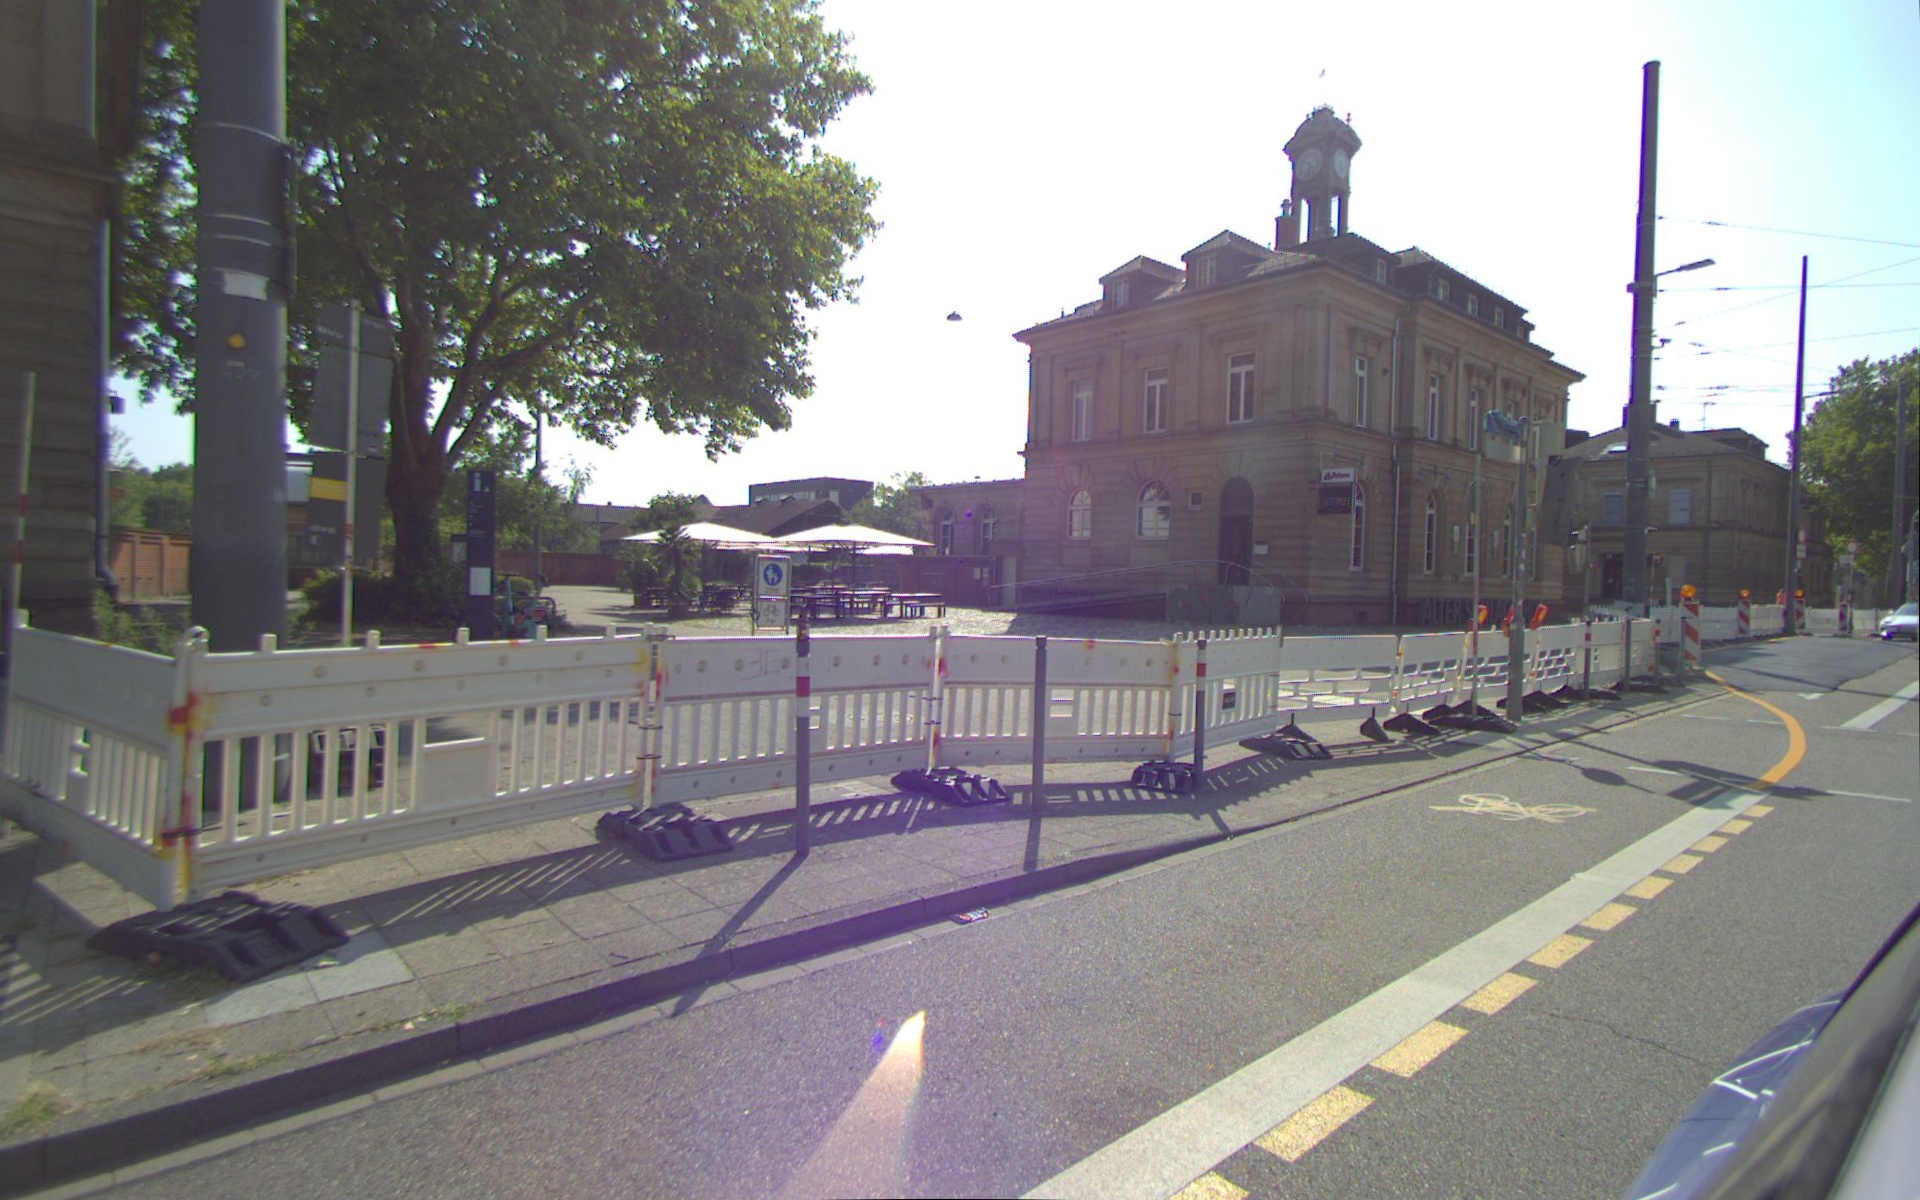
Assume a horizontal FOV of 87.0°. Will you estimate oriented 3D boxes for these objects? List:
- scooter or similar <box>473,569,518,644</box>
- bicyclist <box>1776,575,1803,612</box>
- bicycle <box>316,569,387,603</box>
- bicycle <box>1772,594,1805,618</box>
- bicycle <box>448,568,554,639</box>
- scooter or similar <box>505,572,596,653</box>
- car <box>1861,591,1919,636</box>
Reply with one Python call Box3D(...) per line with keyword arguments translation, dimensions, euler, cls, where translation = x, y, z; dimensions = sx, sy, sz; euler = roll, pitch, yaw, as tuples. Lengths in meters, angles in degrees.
Box3D(translation=(-7.453, 0.093, 16.229), dimensions=(0.307, 1.146, 1.093), euler=(0, 2, -43), cls="scooter or similar")
Box3D(translation=(37.638, -0.284, 45.929), dimensions=(0.838, 1.645, 0.736), euler=(1, 2, -40), cls="bicyclist")
Box3D(translation=(-18.229, -0.420, 30.325), dimensions=(1.760, 0.910, 0.570), euler=(3, 0, -33), cls="bicycle")
Box3D(translation=(37.609, 0.281, 45.935), dimensions=(2.094, 1.045, 0.743), euler=(0, 2, -41), cls="bicycle")
Box3D(translation=(-7.992, 0.051, 17.644), dimensions=(1.598, 1.180, 0.500), euler=(0, 2, -36), cls="bicycle")
Box3D(translation=(-6.209, 0.177, 15.361), dimensions=(1.203, 1.180, 0.410), euler=(1, 2, -36), cls="scooter or similar")
Box3D(translation=(34.199, 0.479, 36.560), dimensions=(3.929, 1.477, 1.844), euler=(0, 4, -40), cls="car")
